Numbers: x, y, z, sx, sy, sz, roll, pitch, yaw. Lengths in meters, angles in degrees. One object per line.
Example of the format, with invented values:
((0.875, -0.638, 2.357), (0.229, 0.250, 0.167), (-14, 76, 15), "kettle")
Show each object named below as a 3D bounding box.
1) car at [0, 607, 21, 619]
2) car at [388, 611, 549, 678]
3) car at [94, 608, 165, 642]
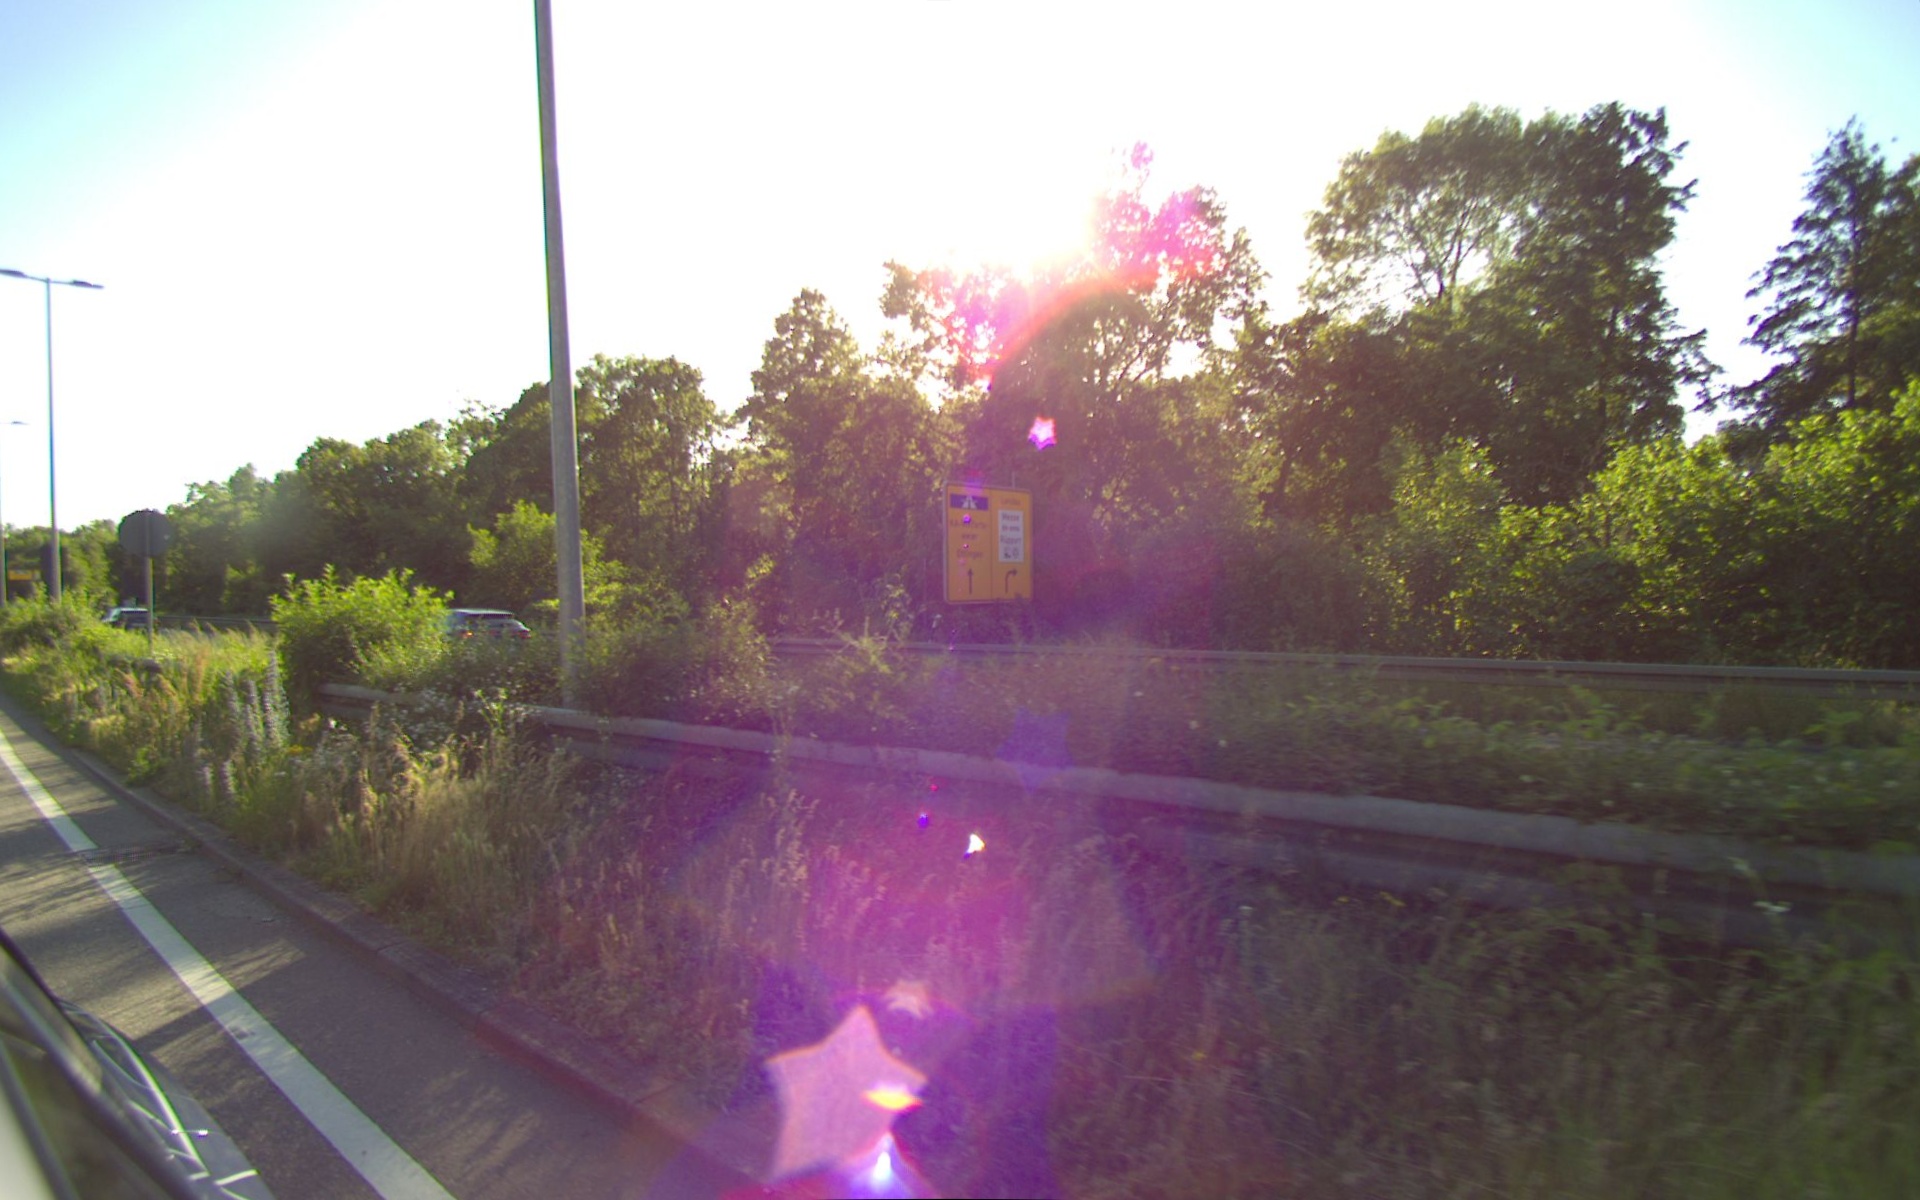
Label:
((-112.341, 1.488, 119.638), (4.463, 1.367, 1.753), (0, 1, 44), "car")
((-11.597, 0.985, 23.781), (4.362, 1.431, 1.866), (-1, -1, 41), "car")
((-37.140, 1.090, 45.219), (4.530, 1.427, 1.786), (-1, 0, 42), "car")
